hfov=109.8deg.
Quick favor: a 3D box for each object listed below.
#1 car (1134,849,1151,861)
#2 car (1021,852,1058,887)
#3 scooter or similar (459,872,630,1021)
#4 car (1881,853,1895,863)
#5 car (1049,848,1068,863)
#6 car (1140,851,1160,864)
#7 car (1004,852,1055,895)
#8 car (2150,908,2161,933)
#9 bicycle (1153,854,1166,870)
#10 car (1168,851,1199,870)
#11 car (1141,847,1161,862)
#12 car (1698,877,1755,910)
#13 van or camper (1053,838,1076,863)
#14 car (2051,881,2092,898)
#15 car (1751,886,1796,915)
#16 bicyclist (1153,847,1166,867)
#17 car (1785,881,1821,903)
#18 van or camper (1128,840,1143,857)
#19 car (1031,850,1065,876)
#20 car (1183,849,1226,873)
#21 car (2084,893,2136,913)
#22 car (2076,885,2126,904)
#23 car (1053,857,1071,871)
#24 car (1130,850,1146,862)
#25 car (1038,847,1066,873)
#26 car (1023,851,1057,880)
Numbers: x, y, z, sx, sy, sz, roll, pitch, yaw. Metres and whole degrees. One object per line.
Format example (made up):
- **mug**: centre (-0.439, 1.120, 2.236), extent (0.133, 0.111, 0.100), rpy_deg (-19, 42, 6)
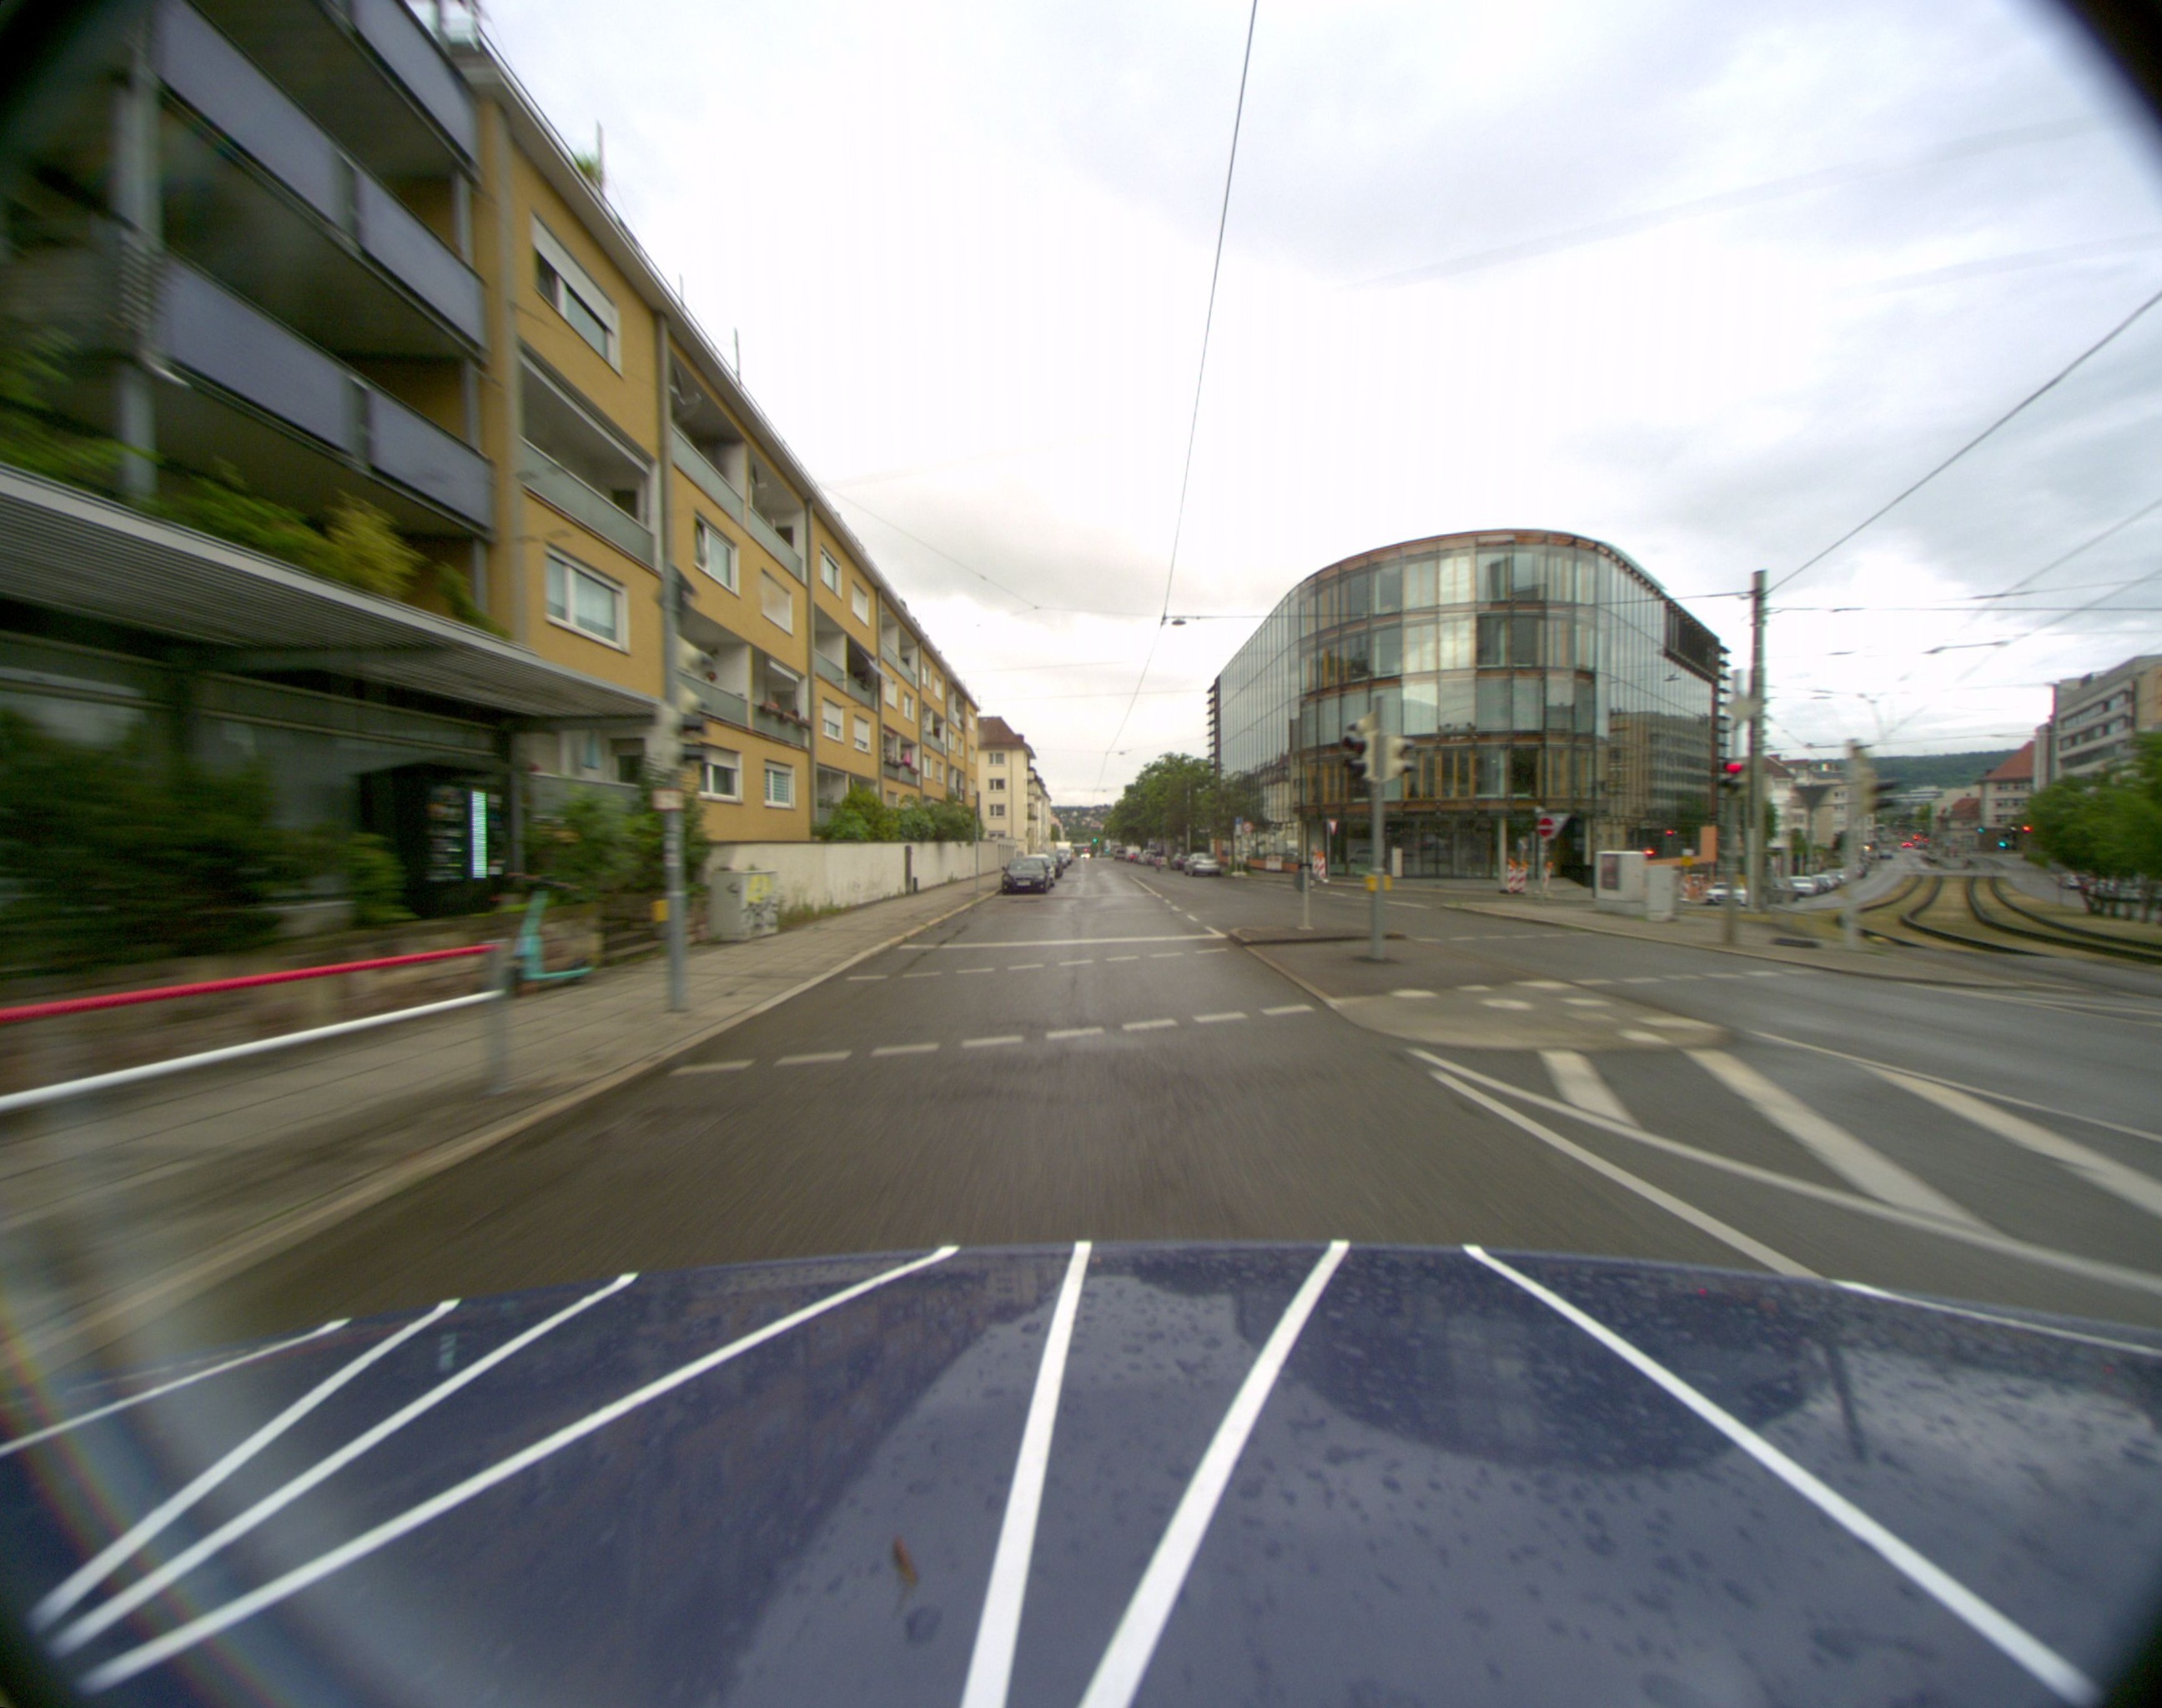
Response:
- **car**: centre (8.466, 0.147, 104.161), extent (1.881, 1.456, 3.516), rpy_deg (0, 2, -3)
- **car**: centre (-1.927, 0.712, 36.520), extent (1.652, 1.452, 4.100), rpy_deg (-1, 2, -2)
- **scooter or similar**: centre (-5.577, 0.897, 8.029), extent (0.536, 1.320, 1.659), rpy_deg (4, 1, 1)
- **car**: centre (167.132, 0.794, 157.333), extent (4.007, 1.740, 1.912), rpy_deg (-3, 3, -41)
- **car**: centre (-2.140, 0.114, 73.966), extent (1.740, 1.370, 3.837), rpy_deg (-1, 2, 0)
- **car**: centre (7.946, 0.417, 87.735), extent (1.881, 1.390, 3.998), rpy_deg (0, 2, -2)
- **car**: centre (-2.008, 0.738, 30.757), extent (1.734, 1.452, 4.476), rpy_deg (-1, 2, 0)
- **car**: centre (67.203, 4.110, 46.166), extent (4.323, 1.498, 1.994), rpy_deg (5, -3, -44)
- **bicycle**: centre (5.899, 0.578, 57.172), extent (0.826, 1.142, 2.126), rpy_deg (0, 2, 0)
- **car**: centre (8.507, 0.500, 63.387), extent (1.727, 1.455, 4.328), rpy_deg (1, 0, -4)
- **car**: centre (8.499, -0.006, 92.991), extent (1.881, 1.700, 3.998), rpy_deg (0, 2, -2)
- **car**: centre (37.140, 2.233, 43.683), extent (4.007, 1.488, 1.912), rpy_deg (-3, 2, -41)
- **van or camper**: centre (-2.095, -0.563, 99.656), extent (2.754, 3.041, 7.028), rpy_deg (-1, 2, 1)
- **car**: centre (98.124, 3.561, 75.324), extent (4.323, 1.498, 1.994), rpy_deg (5, -3, -44)
- **car**: centre (49.713, 3.292, 54.542), extent (4.007, 1.740, 1.912), rpy_deg (-3, 3, -41)
- **bicyclist**: centre (5.894, 0.219, 57.172), extent (0.826, 1.453, 1.140), rpy_deg (-1, 2, 0)
- **car**: centre (60.683, 3.196, 63.843), extent (4.007, 1.501, 1.784), rpy_deg (-3, 3, -41)
- **van or camper**: centre (8.544, -0.864, 119.413), extent (2.143, 2.588, 5.549), rpy_deg (-1, 2, 1)
- **car**: centre (-2.000, 0.507, 47.641), extent (1.916, 1.418, 4.450), rpy_deg (-1, 2, 0)
- **car**: centre (7.720, 0.402, 47.987), extent (1.863, 1.386, 4.644), rpy_deg (0, 0, -1)
- **car**: centre (83.731, 3.981, 61.872), extent (4.323, 1.498, 1.994), rpy_deg (5, -3, -44)
- **car**: centre (87.865, 3.485, 65.530), extent (4.713, 1.498, 1.994), rpy_deg (5, -3, -44)
- **car**: centre (-1.961, 1.025, 79.789), extent (1.740, 1.370, 3.969), rpy_deg (-1, 2, 0)
- **car**: centre (8.485, 0.239, 113.330), extent (1.999, 1.566, 3.998), rpy_deg (-1, 2, -1)
- **car**: centre (-1.971, 0.417, 53.544), extent (1.806, 1.637, 4.574), rpy_deg (-1, 2, 0)
- **car**: centre (-2.250, 0.604, 42.107), extent (1.690, 1.445, 3.552), rpy_deg (-1, 2, 0)
